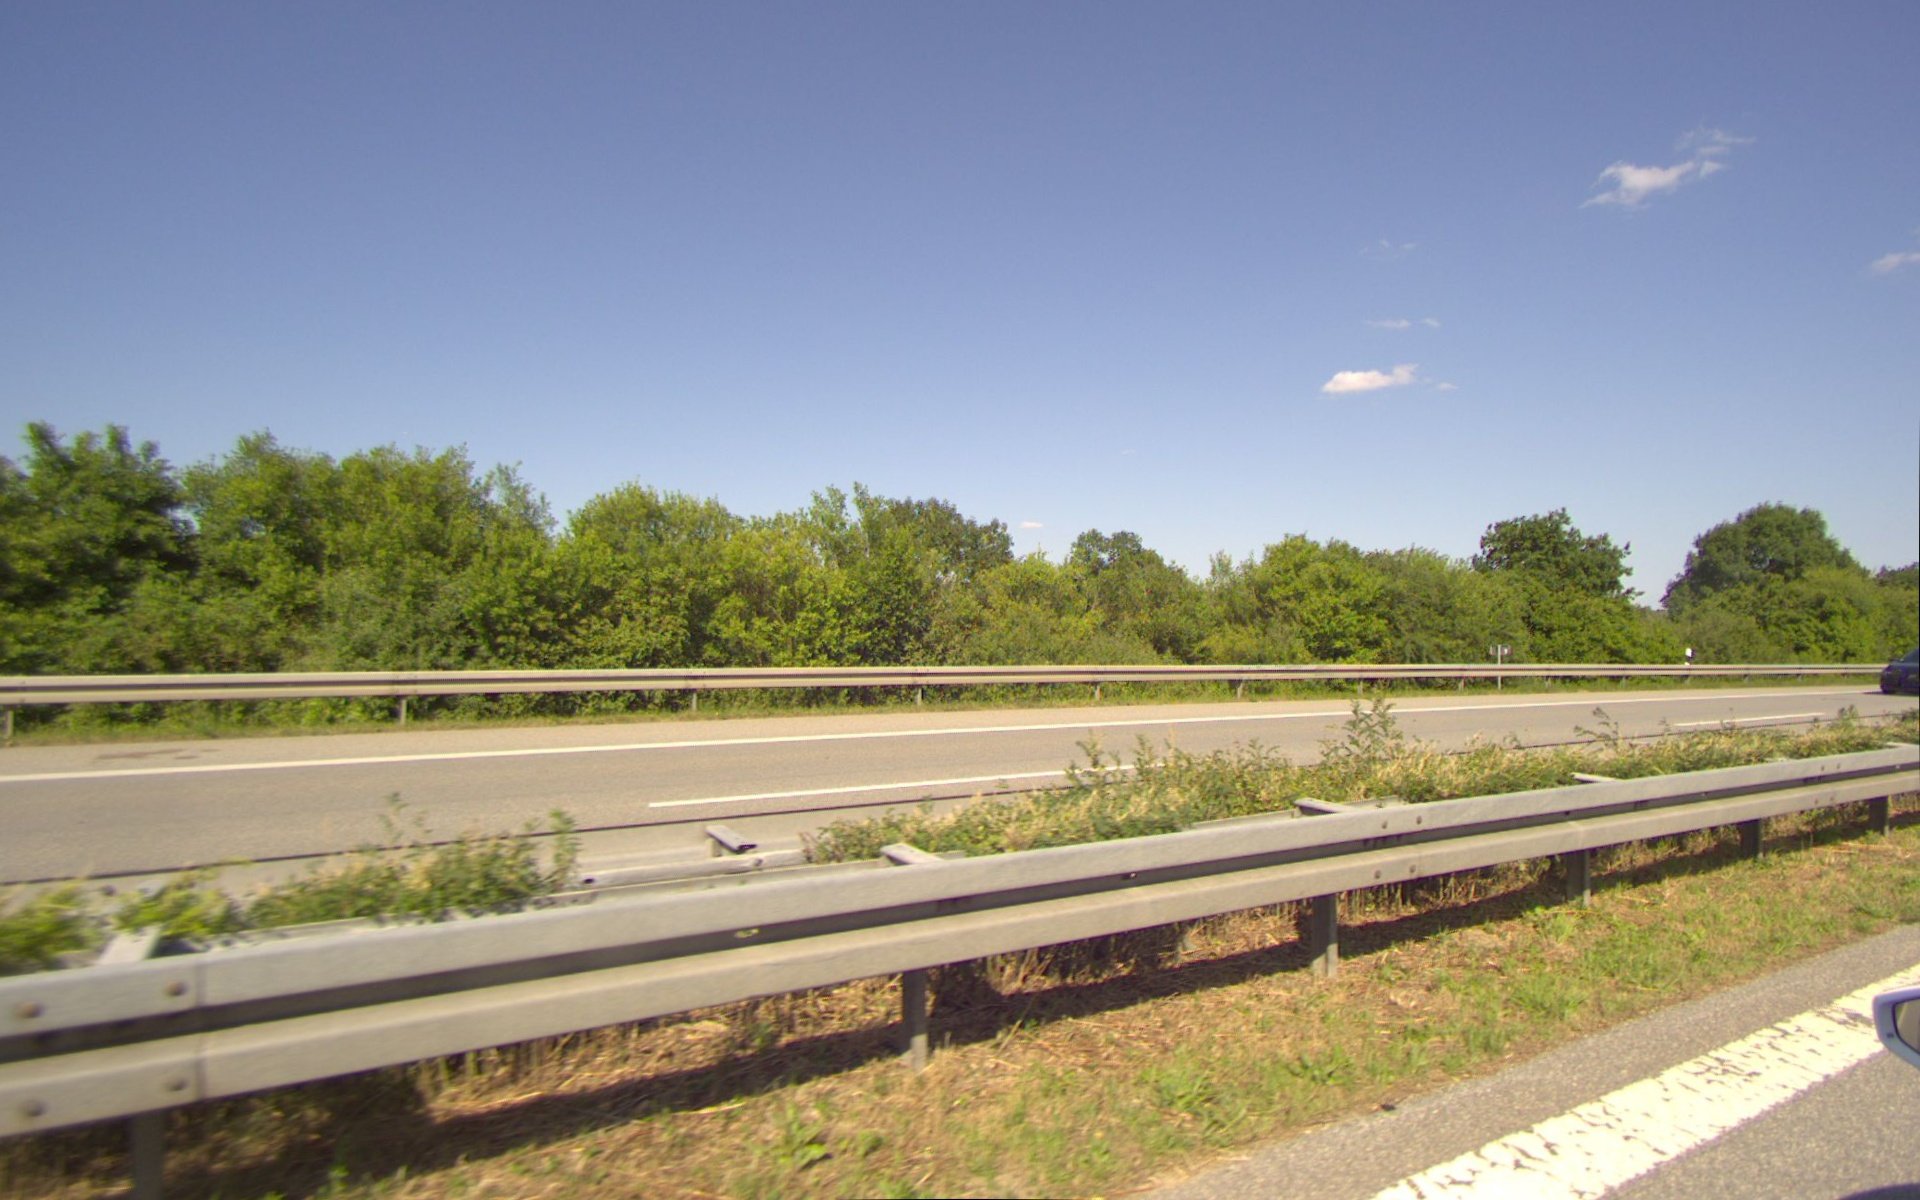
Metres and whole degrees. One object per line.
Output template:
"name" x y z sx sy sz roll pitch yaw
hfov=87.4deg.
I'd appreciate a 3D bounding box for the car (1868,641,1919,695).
"car" 28.196 1.932 28.854 4.710 1.464 1.731 1 -2 -29
